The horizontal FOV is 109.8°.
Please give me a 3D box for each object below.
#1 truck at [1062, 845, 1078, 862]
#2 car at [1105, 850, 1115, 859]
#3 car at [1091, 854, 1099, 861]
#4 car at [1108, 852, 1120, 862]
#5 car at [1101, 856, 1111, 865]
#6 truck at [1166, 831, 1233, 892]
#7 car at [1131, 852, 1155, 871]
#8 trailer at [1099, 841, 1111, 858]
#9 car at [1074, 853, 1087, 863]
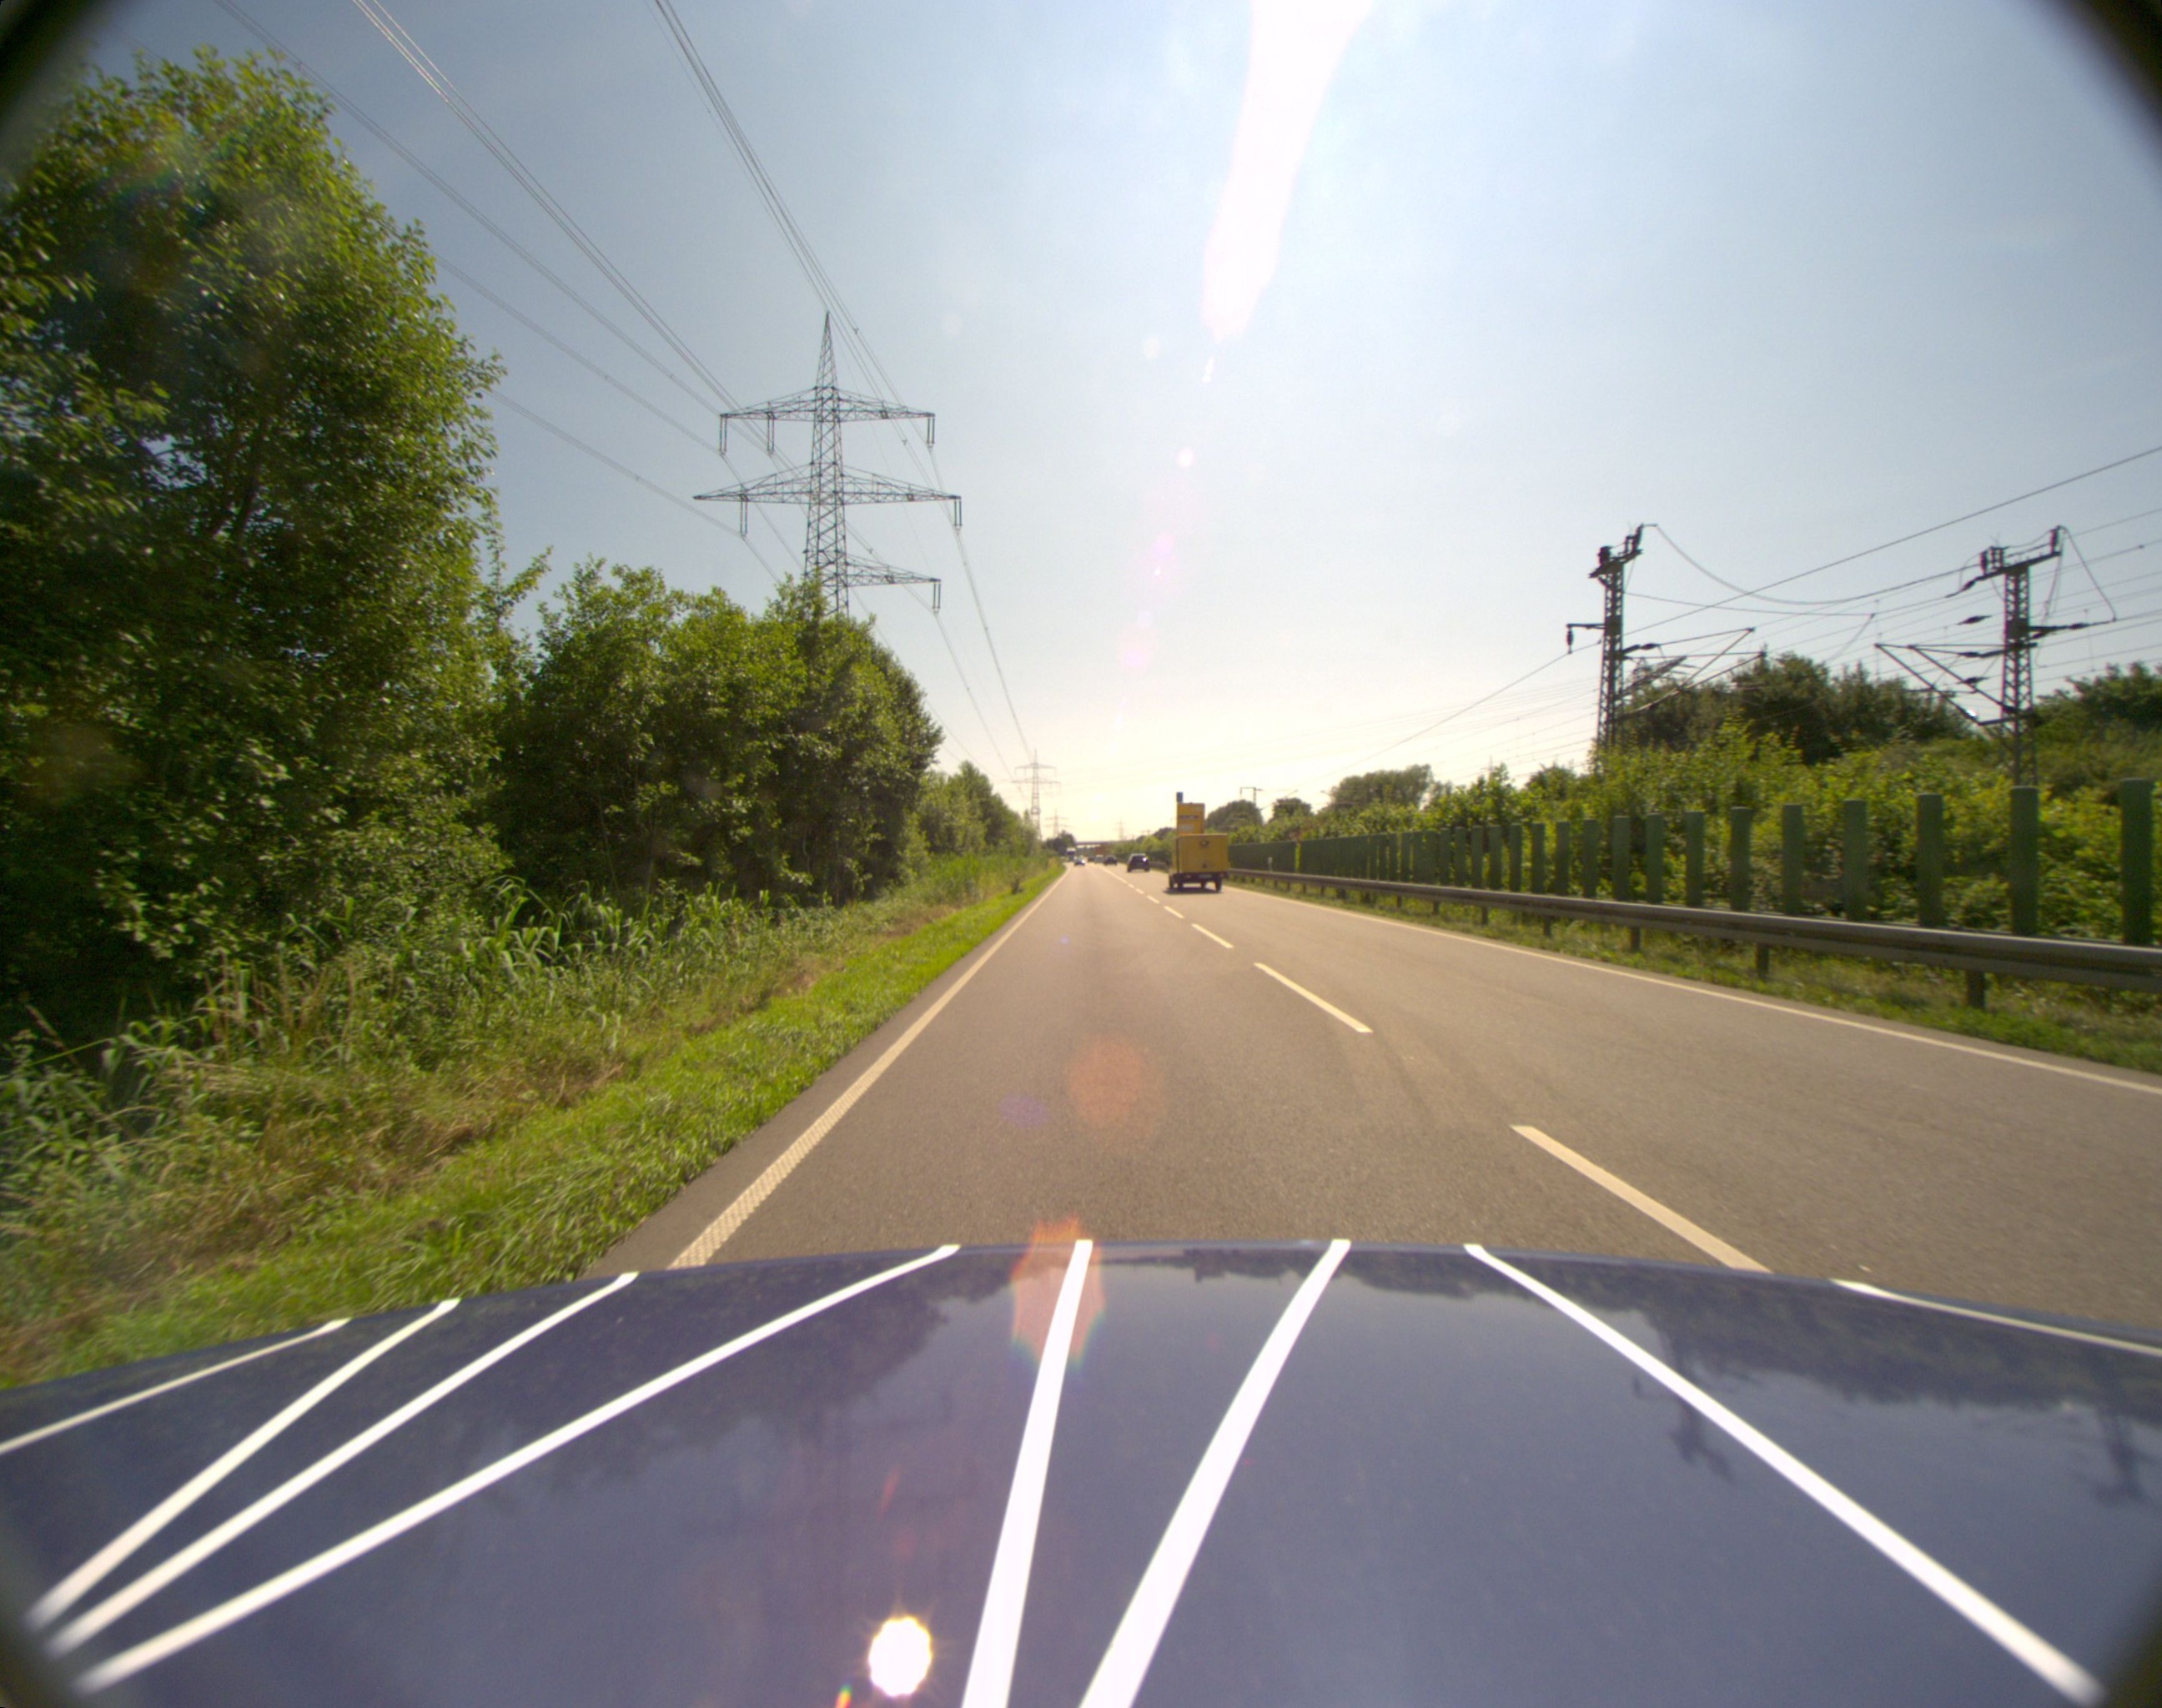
[{"bbox_3d":[-2.987,-0.151,215.791,4.219,4.608,21.301,-2,0,-1],"label":"truck"},{"bbox_3d":[5.129,0.043,133.038,1.510,1.426,3.742,-2,0,-1],"label":"car"},{"bbox_3d":[3.161,0.712,171.184,1.618,1.433,3.794,-2,0,-1],"label":"car"},{"bbox_3d":[5.029,0.453,115.785,1.677,1.506,4.288,-1,0,0],"label":"car"},{"bbox_3d":[4.906,1.249,147.597,1.829,1.596,4.323,-2,0,1],"label":"car"},{"bbox_3d":[4.991,0.285,32.868,1.998,2.334,6.011,-1,0,1],"label":"truck"},{"bbox_3d":[5.656,0.665,69.827,1.806,1.578,4.370,-1,0,0],"label":"car"},{"bbox_3d":[6.129,-1.117,195.753,2.555,4.120,9.227,-2,0,0],"label":"trailer"},{"bbox_3d":[-0.141,0.648,121.780,1.999,1.346,4.157,-3,1,-1],"label":"car"}]
